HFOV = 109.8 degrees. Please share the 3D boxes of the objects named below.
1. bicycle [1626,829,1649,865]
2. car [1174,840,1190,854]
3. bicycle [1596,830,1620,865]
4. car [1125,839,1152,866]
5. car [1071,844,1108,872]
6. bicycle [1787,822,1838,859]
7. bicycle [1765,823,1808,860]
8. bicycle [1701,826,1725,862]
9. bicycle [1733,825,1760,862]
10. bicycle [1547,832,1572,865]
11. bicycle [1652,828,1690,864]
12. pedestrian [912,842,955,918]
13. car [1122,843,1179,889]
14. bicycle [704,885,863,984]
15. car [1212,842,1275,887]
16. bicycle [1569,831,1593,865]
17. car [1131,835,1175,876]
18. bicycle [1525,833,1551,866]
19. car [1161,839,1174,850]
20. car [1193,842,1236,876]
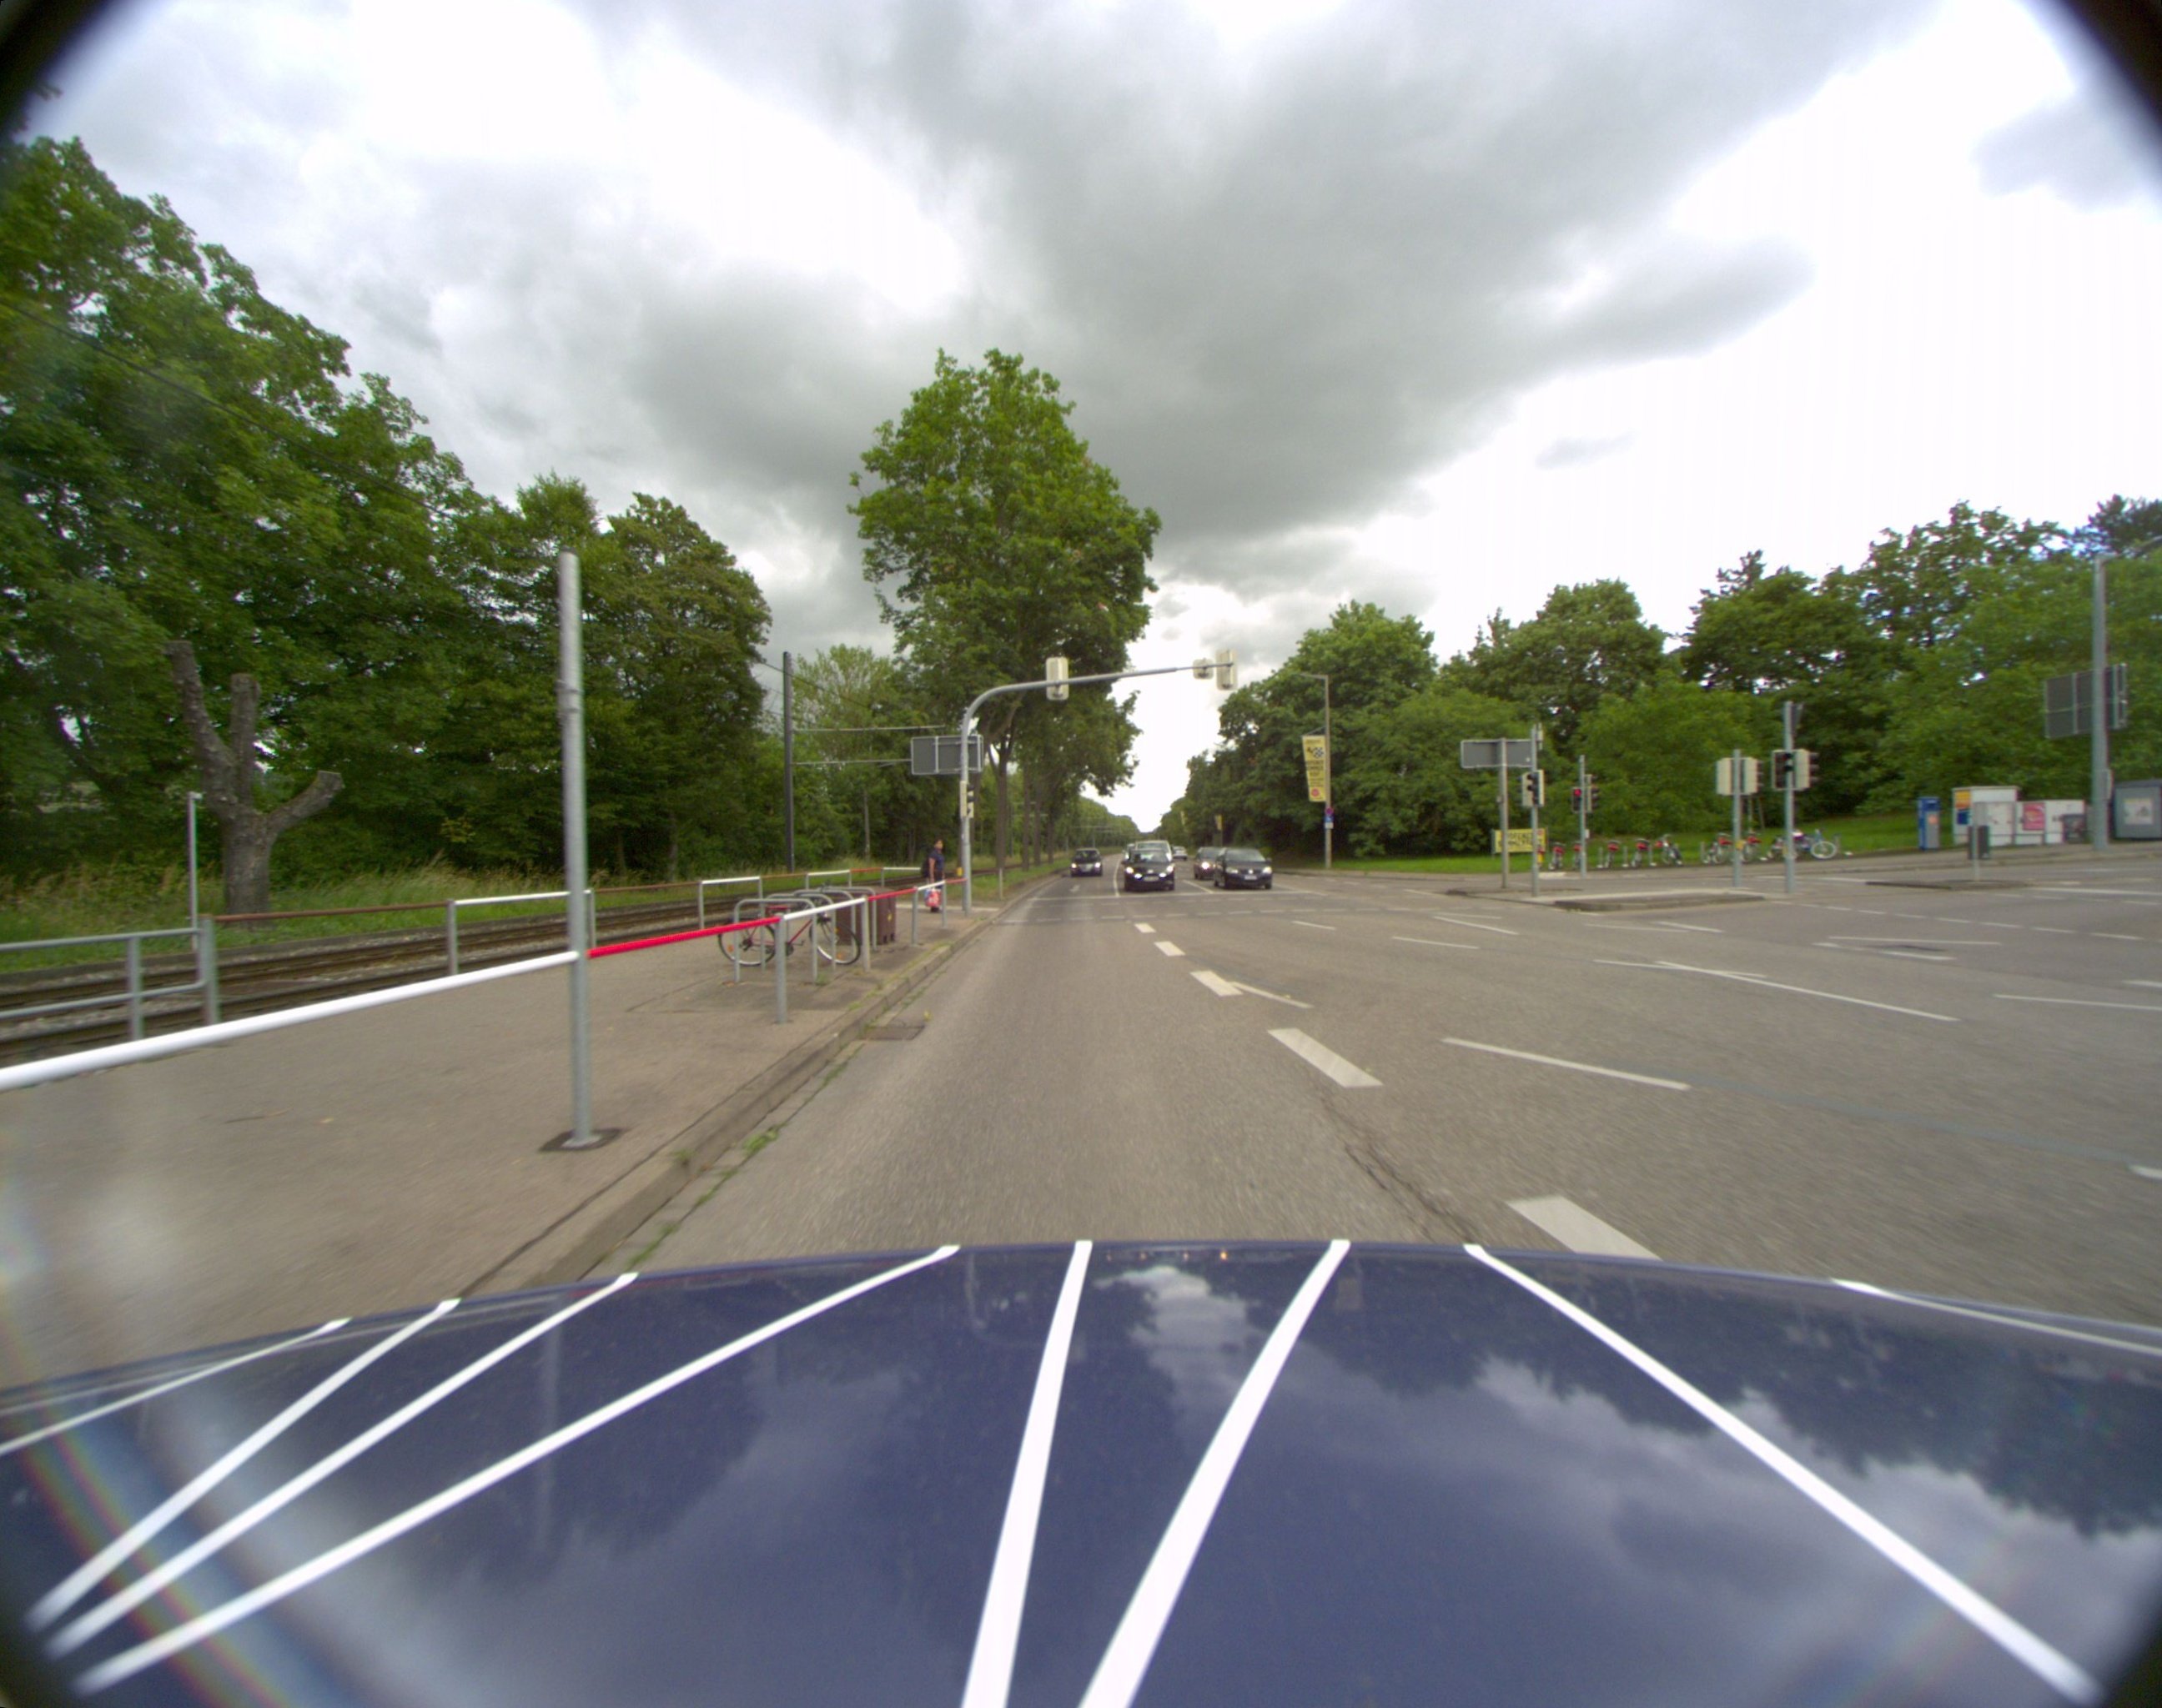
[{"bbox_3d":[21.183,-0.284,28.907,0.544,1.245,1.939,-2,2,41],"label":"bicycle"},{"bbox_3d":[12.016,-0.855,89.904,1.742,1.530,3.912,-2,1,9],"label":"car"},{"bbox_3d":[20.405,-0.252,29.409,0.544,1.245,1.939,-2,2,41],"label":"bicycle"},{"bbox_3d":[4.064,-0.147,54.229,1.807,1.785,4.503,-3,1,4],"label":"car"},{"bbox_3d":[0.557,0.200,44.999,1.807,1.520,3.929,-2,1,5],"label":"car"},{"bbox_3d":[25.769,-0.486,26.793,0.544,1.245,1.937,-2,1,20],"label":"bicycle"},{"bbox_3d":[25.120,-0.457,27.091,0.544,1.245,1.938,-2,2,26],"label":"bicycle"},{"bbox_3d":[23.202,-0.371,27.898,0.544,1.245,1.939,-2,2,37],"label":"bicycle"},{"bbox_3d":[24.055,-0.408,27.492,0.544,1.245,1.939,-2,2,37],"label":"bicycle"},{"bbox_3d":[19.298,-0.217,30.616,0.544,1.245,1.939,-2,1,41],"label":"bicycle"},{"bbox_3d":[22.072,-0.322,28.466,0.544,1.245,1.937,-2,1,20],"label":"bicycle"},{"bbox_3d":[-3.473,0.598,17.959,0.753,1.727,0.840,1,2,8],"label":"pedestrian"},{"bbox_3d":[2.424,0.378,27.208,1.708,1.472,3.666,-2,1,0],"label":"car"},{"bbox_3d":[-3.575,0.960,9.216,1.678,1.084,0.602,1,2,-1],"label":"bicycle"},{"bbox_3d":[5.621,0.320,26.658,1.559,1.458,3.808,1,1,3],"label":"car"},{"bbox_3d":[19.822,-0.235,30.108,0.544,1.245,1.939,-2,2,41],"label":"bicycle"},{"bbox_3d":[3.463,0.036,37.540,1.911,1.832,5.282,-2,1,3],"label":"car"},{"bbox_3d":[18.552,-0.181,30.803,0.544,1.245,1.939,-2,2,41],"label":"bicycle"},{"bbox_3d":[12.748,-1.407,112.007,1.743,1.530,3.911,-2,1,6],"label":"car"},{"bbox_3d":[6.049,0.200,34.843,1.595,1.459,3.929,0,1,5],"label":"car"}]
